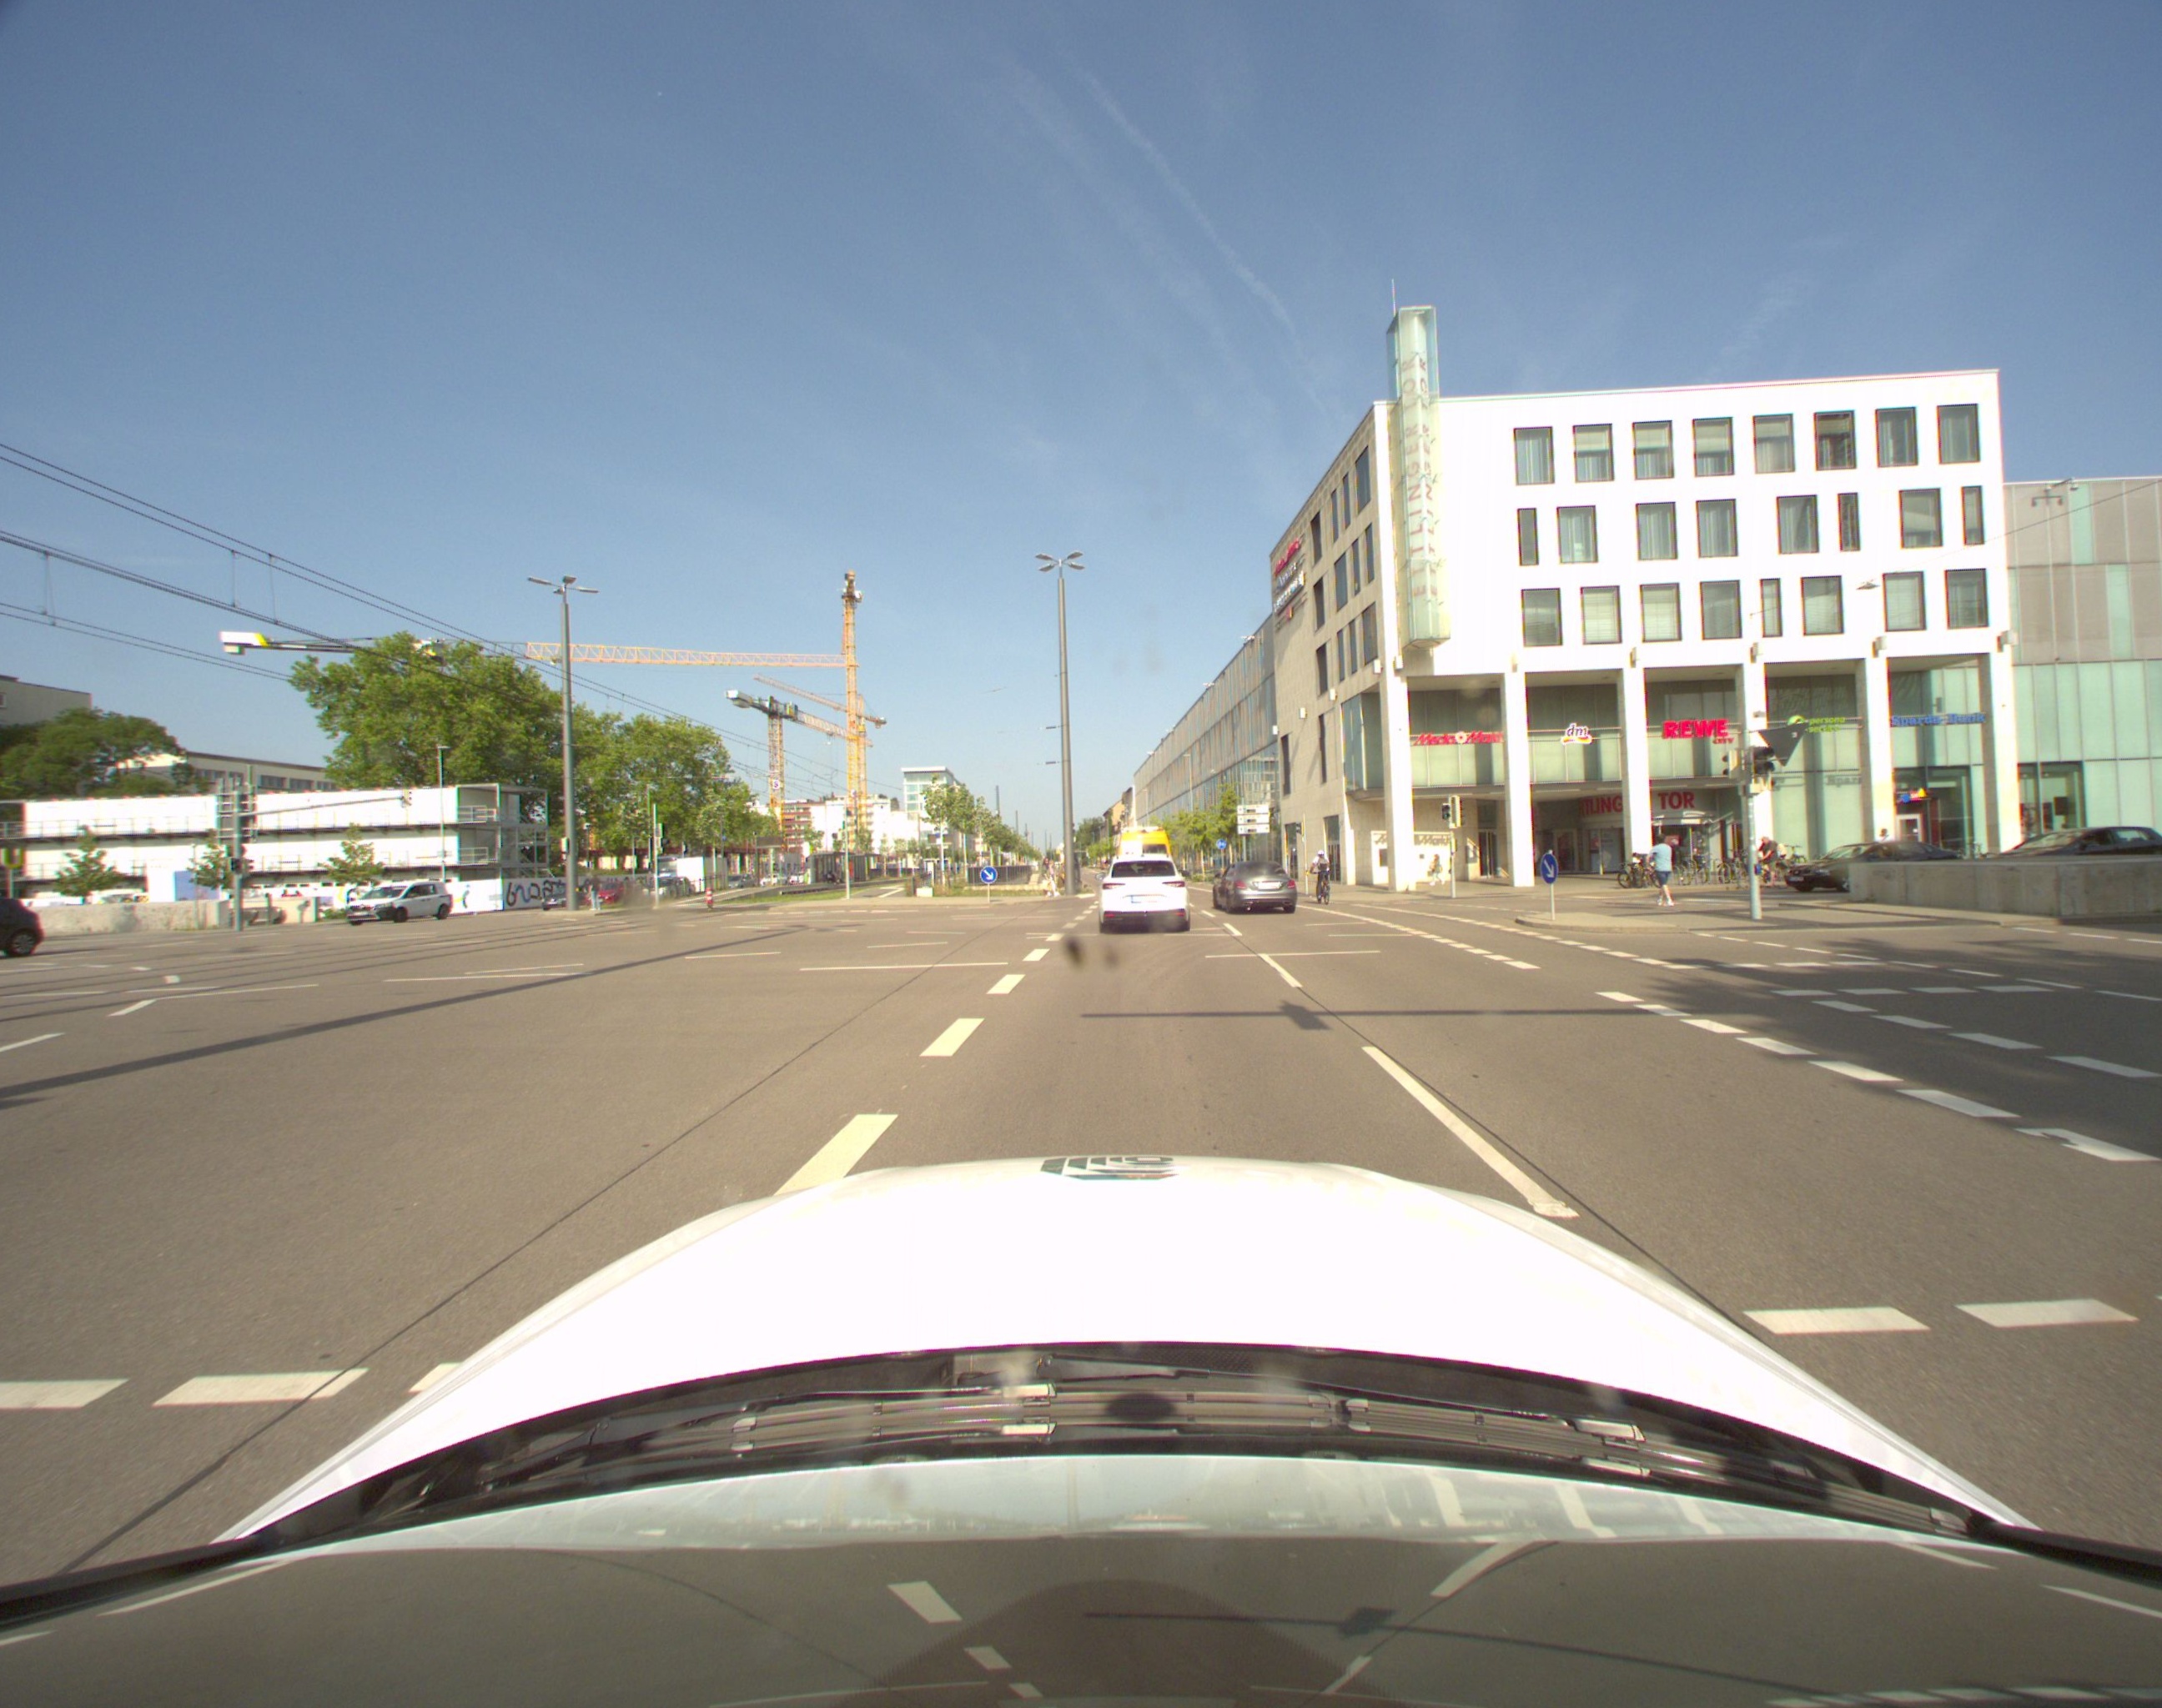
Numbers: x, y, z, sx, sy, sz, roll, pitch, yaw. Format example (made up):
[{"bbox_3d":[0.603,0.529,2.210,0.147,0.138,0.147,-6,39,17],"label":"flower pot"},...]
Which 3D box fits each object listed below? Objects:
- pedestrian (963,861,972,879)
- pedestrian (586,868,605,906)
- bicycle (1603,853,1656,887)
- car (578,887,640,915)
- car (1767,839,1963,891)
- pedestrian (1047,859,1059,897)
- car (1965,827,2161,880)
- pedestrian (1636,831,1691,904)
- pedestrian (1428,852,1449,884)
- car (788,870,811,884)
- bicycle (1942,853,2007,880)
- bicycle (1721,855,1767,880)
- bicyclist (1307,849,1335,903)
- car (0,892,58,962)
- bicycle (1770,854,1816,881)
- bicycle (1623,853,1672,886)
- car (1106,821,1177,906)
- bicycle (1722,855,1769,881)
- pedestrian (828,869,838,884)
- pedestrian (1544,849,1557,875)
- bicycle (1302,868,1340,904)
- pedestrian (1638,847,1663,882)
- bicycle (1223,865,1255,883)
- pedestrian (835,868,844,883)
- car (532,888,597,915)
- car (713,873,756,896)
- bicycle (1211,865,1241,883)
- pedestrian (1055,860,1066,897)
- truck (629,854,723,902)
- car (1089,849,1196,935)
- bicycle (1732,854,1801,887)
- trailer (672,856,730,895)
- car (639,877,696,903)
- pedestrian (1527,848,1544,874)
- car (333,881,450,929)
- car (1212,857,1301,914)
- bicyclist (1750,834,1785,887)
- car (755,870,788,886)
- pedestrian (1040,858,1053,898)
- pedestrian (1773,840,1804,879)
[{"bbox_3d":[-10.254,1.423,73.754,0.734,1.619,0.710,-2,-1,-3],"label":"pedestrian"},{"bbox_3d":[-21.686,1.474,36.372,0.367,1.676,0.642,-2,-1,15],"label":"pedestrian"},{"bbox_3d":[21.012,0.591,31.252,0.611,1.237,2.070,-2,-1,1],"label":"bicycle"},{"bbox_3d":[-27.367,2.699,47.359,1.718,1.361,3.691,-1,-1,-6],"label":"car"},{"bbox_3d":[23.041,0.338,24.066,3.877,1.366,1.878,-2,-2,2],"label":"car"},{"bbox_3d":[-1.240,1.069,36.297,0.466,1.650,0.777,-1,-1,-2],"label":"pedestrian"},{"bbox_3d":[29.110,0.005,24.038,3.885,1.402,1.880,-2,-1,3],"label":"car"},{"bbox_3d":[13.989,0.321,19.582,0.639,1.711,0.991,-2,-1,6],"label":"pedestrian"},{"bbox_3d":[16.944,0.675,38.634,0.705,1.487,0.605,-2,-1,0],"label":"pedestrian"},{"bbox_3d":[-33.439,2.708,96.709,1.592,1.463,3.431,-2,-1,-1],"label":"car"},{"bbox_3d":[33.394,0.467,30.475,0.457,0.956,1.714,-2,-1,-2],"label":"bicycle"},{"bbox_3d":[25.936,0.522,31.895,0.456,0.956,1.860,-2,-1,8],"label":"bicycle"},{"bbox_3d":[7.995,0.716,27.173,0.649,1.749,0.769,-2,-1,1],"label":"bicyclist"},{"bbox_3d":[-26.484,1.785,18.559,1.639,1.601,3.988,-2,0,-9],"label":"car"},{"bbox_3d":[27.028,0.501,30.937,0.456,0.956,1.673,-2,-1,8],"label":"bicycle"},{"bbox_3d":[21.697,0.592,31.227,0.499,1.199,1.791,-2,-1,-2],"label":"bicycle"},{"bbox_3d":[2.099,0.319,29.926,2.015,2.796,5.397,-2,0,-1],"label":"car"},{"bbox_3d":[25.306,0.511,31.056,0.456,0.956,1.860,-2,-1,8],"label":"bicycle"},{"bbox_3d":[-21.202,1.930,69.599,0.679,1.300,0.591,-2,-1,-5],"label":"pedestrian"},{"bbox_3d":[24.362,0.401,42.242,0.390,1.341,0.455,-2,-1,-2],"label":"pedestrian"},{"bbox_3d":[8.011,1.058,27.218,0.658,1.117,2.051,-2,0,1],"label":"bicycle"},{"bbox_3d":[22.115,0.407,31.632,0.511,1.356,0.546,-2,-1,-8],"label":"pedestrian"},{"bbox_3d":[9.718,1.209,50.114,1.833,1.113,0.687,0,-1,0],"label":"bicycle"},{"bbox_3d":[-21.478,1.949,72.403,0.679,1.300,0.591,-2,-1,-5],"label":"pedestrian"},{"bbox_3d":[-31.544,2.874,49.881,1.595,1.347,4.411,-2,0,-8],"label":"car"},{"bbox_3d":[-28.128,2.442,66.274,1.716,1.662,4.148,-1,-1,-1],"label":"car"},{"bbox_3d":[9.647,1.333,54.287,1.872,1.109,0.490,-2,-1,0],"label":"bicycle"},{"bbox_3d":[-0.955,1.119,37.610,0.466,1.650,0.777,-1,-1,-2],"label":"pedestrian"},{"bbox_3d":[-32.915,1.844,66.675,3.011,3.586,8.891,-2,0,1],"label":"truck"},{"bbox_3d":[1.196,0.739,17.492,1.865,1.574,3.997,-2,-1,-1],"label":"car"},{"bbox_3d":[22.997,0.546,27.341,1.797,1.017,0.611,-2,-1,-2],"label":"bicycle"},{"bbox_3d":[-27.800,1.552,59.720,2.039,2.781,5.017,0,-1,-2],"label":"trailer"},{"bbox_3d":[-27.237,2.329,53.737,1.639,1.469,4.398,-2,0,-3],"label":"car"},{"bbox_3d":[24.218,0.369,43.358,0.563,1.384,0.492,-2,-1,-7],"label":"pedestrian"},{"bbox_3d":[-29.510,2.113,35.062,1.614,1.789,4.507,-2,-1,-7],"label":"car"},{"bbox_3d":[4.806,0.822,22.815,1.753,1.436,4.117,0,0,2],"label":"car"},{"bbox_3d":[23.051,0.225,27.353,0.633,1.738,0.582,-2,-1,-2],"label":"bicyclist"},{"bbox_3d":[-33.181,2.587,87.481,1.786,1.582,4.615,-2,-1,0],"label":"car"},{"bbox_3d":[-1.451,0.986,34.142,0.466,1.650,0.777,-1,-1,-2],"label":"pedestrian"},{"bbox_3d":[27.649,0.214,31.845,0.604,1.485,0.731,-1,-1,-32],"label":"pedestrian"}]
